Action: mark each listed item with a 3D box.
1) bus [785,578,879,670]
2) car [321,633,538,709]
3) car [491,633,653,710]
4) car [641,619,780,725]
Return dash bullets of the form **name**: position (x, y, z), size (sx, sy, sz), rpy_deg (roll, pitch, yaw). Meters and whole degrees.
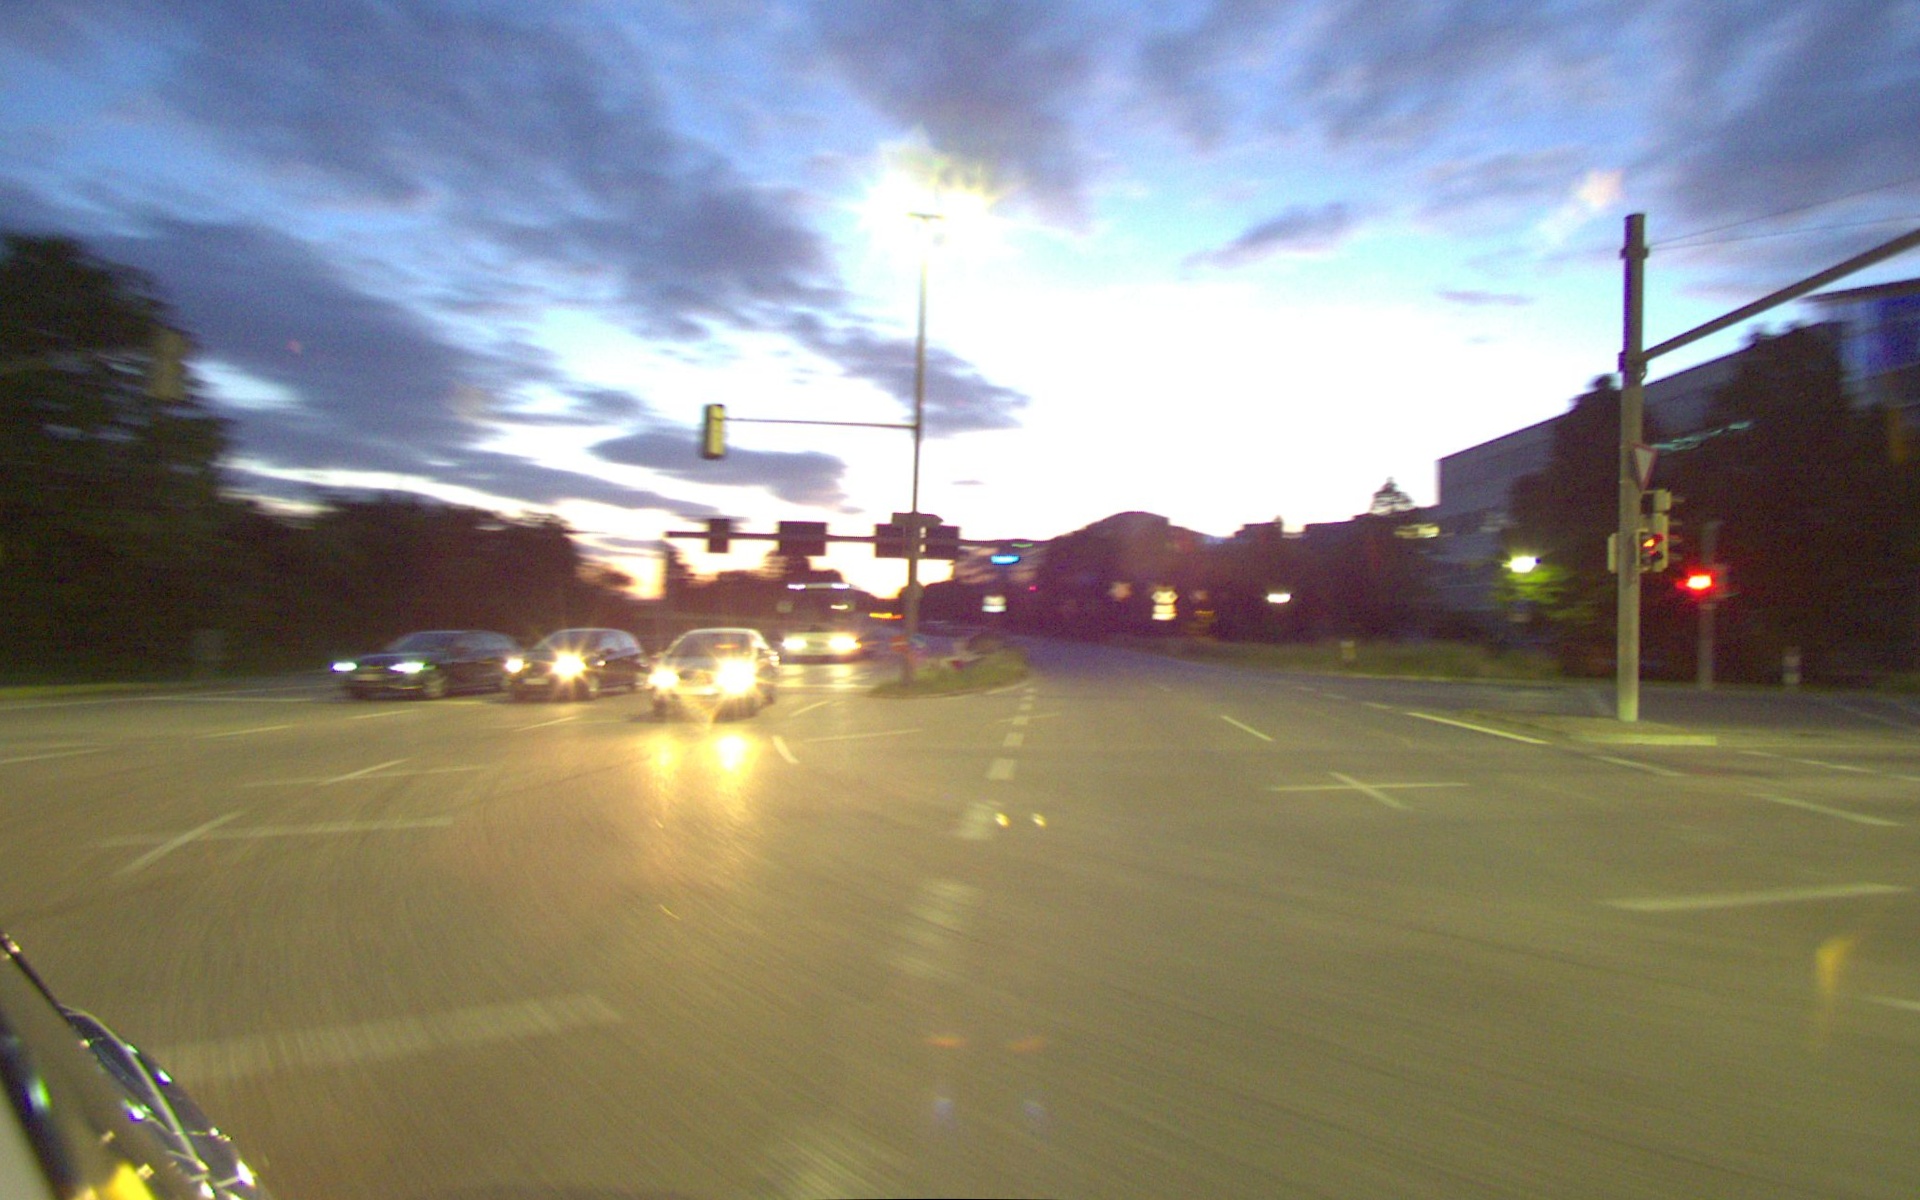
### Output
- **bus**: position (-5.839, 1.171, 48.421), size (2.580, 3.819, 12.268), rpy_deg (-1, -2, 2)
- **car**: position (-11.278, 1.440, 21.924), size (1.776, 1.454, 4.519), rpy_deg (0, -2, 10)
- **car**: position (-8.201, 1.455, 21.769), size (1.651, 1.492, 3.767), rpy_deg (0, -2, 8)
- **car**: position (-4.367, 1.223, 18.325), size (1.646, 1.665, 4.413), rpy_deg (0, -2, -3)
